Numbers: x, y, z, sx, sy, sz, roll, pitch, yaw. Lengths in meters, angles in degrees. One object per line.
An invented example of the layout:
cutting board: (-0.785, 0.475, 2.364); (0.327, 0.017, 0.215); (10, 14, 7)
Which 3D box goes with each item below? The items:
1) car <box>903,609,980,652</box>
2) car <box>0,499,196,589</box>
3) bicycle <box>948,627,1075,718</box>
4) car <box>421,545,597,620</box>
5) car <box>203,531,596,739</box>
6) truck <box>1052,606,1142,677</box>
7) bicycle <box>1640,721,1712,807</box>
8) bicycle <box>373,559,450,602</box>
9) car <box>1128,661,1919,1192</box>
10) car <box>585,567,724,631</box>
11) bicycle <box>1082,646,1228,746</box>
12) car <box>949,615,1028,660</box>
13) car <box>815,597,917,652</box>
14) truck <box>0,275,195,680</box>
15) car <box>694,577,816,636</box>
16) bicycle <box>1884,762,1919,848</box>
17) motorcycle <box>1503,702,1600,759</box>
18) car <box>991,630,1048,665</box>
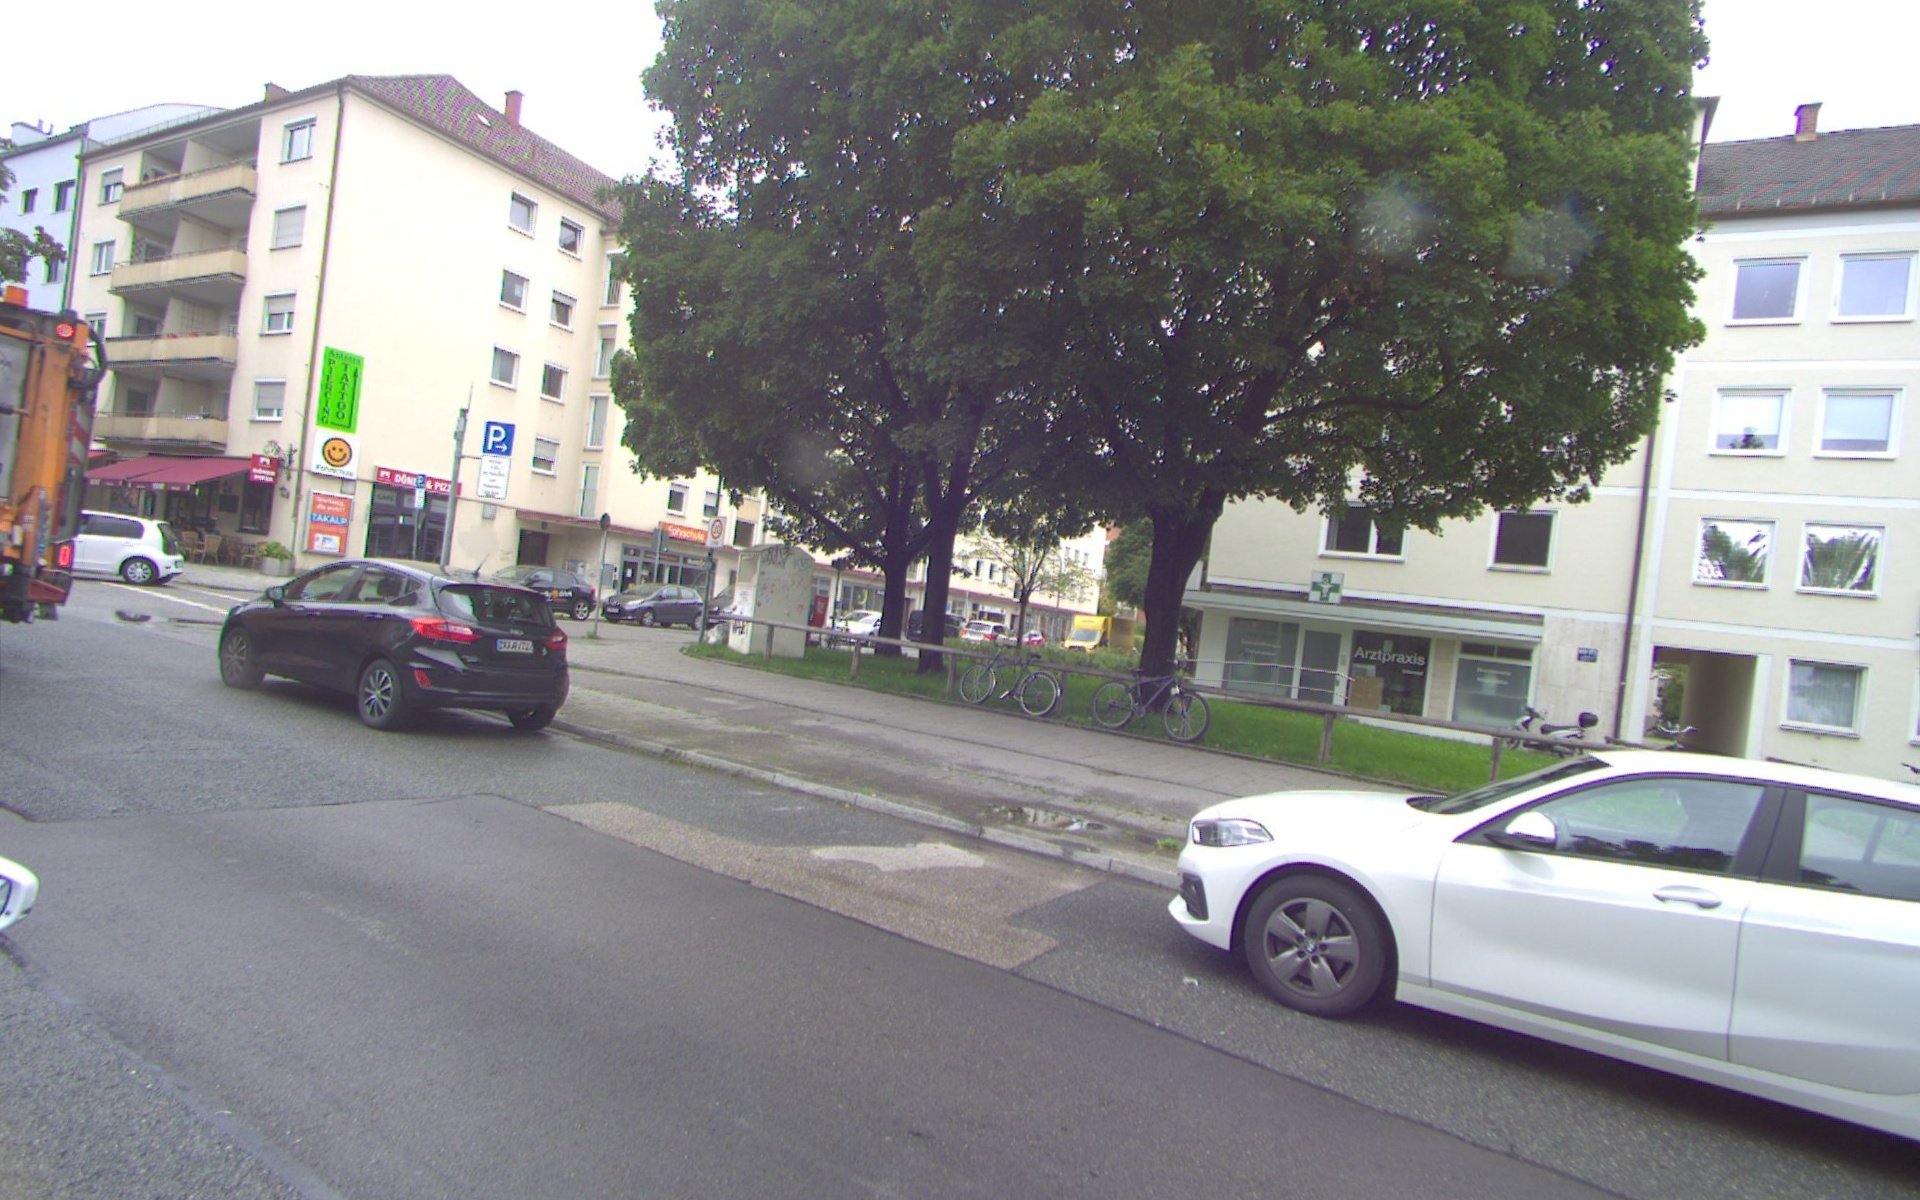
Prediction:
car: (-0.891, 1.627, 52.488); (1.839, 1.679, 4.751); (7, -3, 27)
car: (-18.754, -1.213, 21.495); (3.522, 1.434, 1.857); (8, 0, -30)
bicycle: (0.751, 1.077, 15.132); (1.823, 1.118, 0.390); (7, -1, 32)
car: (-13.028, -0.452, 29.347); (1.838, 1.681, 4.403); (7, 0, 26)
car: (-5.511, 0.313, 9.818); (3.613, 1.482, 1.621); (7, -3, 31)
truck: (7.644, 2.380, 55.192); (2.318, 3.282, 7.427); (7, -2, 26)
bicycle: (9.273, 2.096, 13.081); (0.548, 0.950, 1.881); (7, -2, 32)
bicycle: (-15.748, -0.550, 28.925); (0.548, 0.968, 1.852); (7, -2, 30)
car: (3.096, 1.357, 4.762); (4.067, 1.481, 1.687); (7, -3, 30)
car: (-10.280, 0.011, 34.185); (1.839, 1.681, 4.402); (7, 0, 28)
bicycle: (2.686, 1.316, 13.972); (1.852, 1.116, 0.382); (7, -1, 32)
car: (1.419, 1.824, 48.364); (1.839, 1.680, 4.404); (8, -1, 28)
car: (-3.799, 1.055, 41.696); (1.839, 1.679, 4.741); (7, -3, 27)
truck: (-11.767, -1.473, 10.265); (8.981, 3.226, 3.044); (7, -1, 32)
car: (-7.870, 0.302, 39.138); (1.840, 1.794, 4.743); (7, 0, 29)
bicycle: (12.341, 2.627, 12.803); (0.425, 0.985, 1.881); (7, -2, 32)
motorcycle: (13.975, 3.070, 23.807); (1.875, 1.035, 0.605); (7, -1, 32)
car: (3.678, 2.942, 61.678); (1.839, 1.679, 4.089); (7, -3, 27)
